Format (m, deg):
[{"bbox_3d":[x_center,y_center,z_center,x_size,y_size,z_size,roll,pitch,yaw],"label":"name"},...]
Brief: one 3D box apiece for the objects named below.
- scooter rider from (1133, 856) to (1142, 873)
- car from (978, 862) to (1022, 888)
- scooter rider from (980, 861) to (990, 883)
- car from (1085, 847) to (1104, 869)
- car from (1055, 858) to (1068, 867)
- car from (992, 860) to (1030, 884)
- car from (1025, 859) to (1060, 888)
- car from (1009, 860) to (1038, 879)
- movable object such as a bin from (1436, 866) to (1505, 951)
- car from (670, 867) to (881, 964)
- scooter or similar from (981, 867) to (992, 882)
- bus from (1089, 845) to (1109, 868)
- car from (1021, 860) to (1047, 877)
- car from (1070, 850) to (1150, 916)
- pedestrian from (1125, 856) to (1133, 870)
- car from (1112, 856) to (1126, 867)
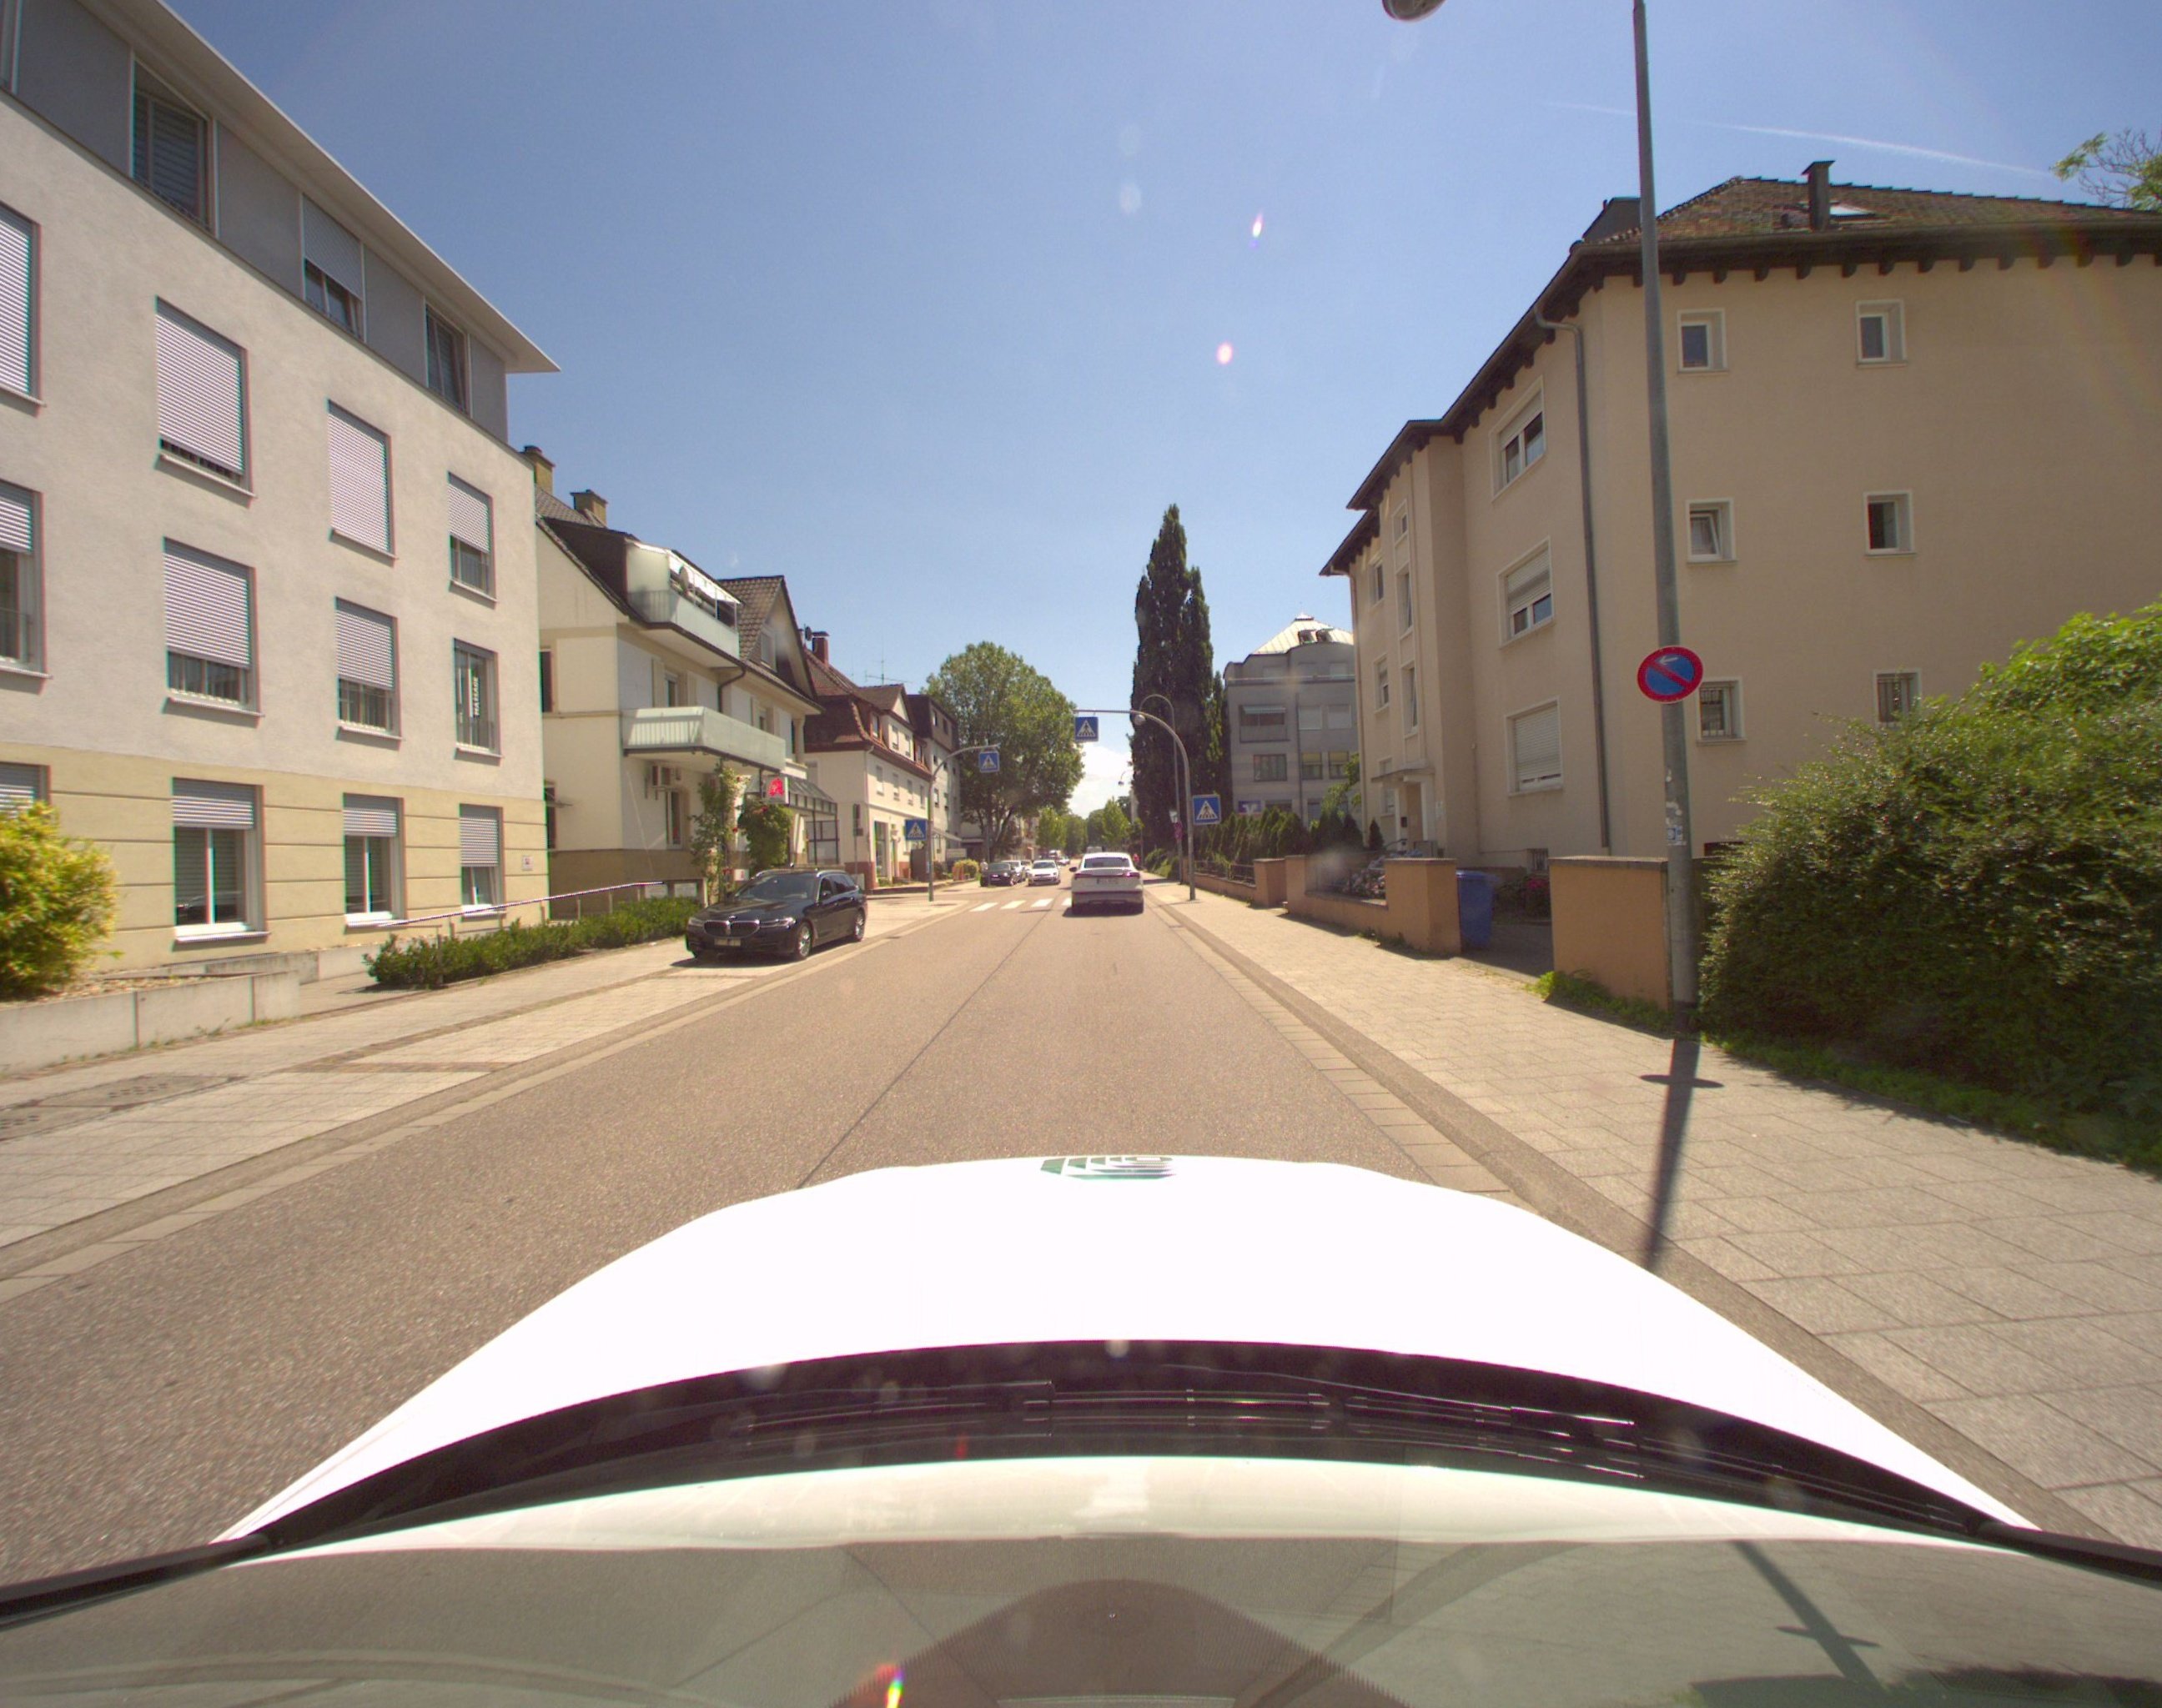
[{"bbox_3d":[5.258,0.952,75.544,0.714,1.548,0.770,-3,0,-1],"label":"scooter rider"},{"bbox_3d":[-4.820,1.227,49.177,1.935,1.373,5.099,-2,0,2],"label":"car"},{"bbox_3d":[-7.091,1.331,60.340,0.586,1.575,0.878,0,0,2],"label":"scooter rider"},{"bbox_3d":[1.615,0.456,94.162,2.148,2.442,5.284,0,-1,1],"label":"car"},{"bbox_3d":[-3.283,1.418,137.728,1.746,1.618,4.403,0,0,2],"label":"car"},{"bbox_3d":[-4.675,1.194,55.247,1.974,1.452,5.359,-1,0,2],"label":"car"},{"bbox_3d":[-2.189,1.102,47.697,1.802,1.482,3.867,-4,-1,-1],"label":"car"},{"bbox_3d":[-4.672,1.213,66.972,1.974,1.452,4.867,-1,0,0],"label":"car"},{"bbox_3d":[5.356,0.734,11.228,0.622,1.099,0.633,-3,-1,3],"label":"movable object such as a bin"},{"bbox_3d":[-5.461,1.012,15.442,1.909,1.452,5.151,0,0,2],"label":"car"},{"bbox_3d":[-7.076,1.553,60.883,0.660,1.098,1.029,0,0,2],"label":"scooter or similar"},{"bbox_3d":[2.712,0.400,121.565,2.649,3.221,7.308,-1,-1,4],"label":"bus"},{"bbox_3d":[-4.168,1.259,72.864,1.974,1.452,5.150,-1,0,0],"label":"car"},{"bbox_3d":[0.725,0.744,22.541,1.987,1.633,3.999,-1,0,0],"label":"car"},{"bbox_3d":[5.852,1.060,99.541,0.698,1.626,0.783,-5,-1,-1],"label":"pedestrian"},{"bbox_3d":[5.386,1.000,115.008,1.888,1.438,4.547,-3,0,3],"label":"car"}]
